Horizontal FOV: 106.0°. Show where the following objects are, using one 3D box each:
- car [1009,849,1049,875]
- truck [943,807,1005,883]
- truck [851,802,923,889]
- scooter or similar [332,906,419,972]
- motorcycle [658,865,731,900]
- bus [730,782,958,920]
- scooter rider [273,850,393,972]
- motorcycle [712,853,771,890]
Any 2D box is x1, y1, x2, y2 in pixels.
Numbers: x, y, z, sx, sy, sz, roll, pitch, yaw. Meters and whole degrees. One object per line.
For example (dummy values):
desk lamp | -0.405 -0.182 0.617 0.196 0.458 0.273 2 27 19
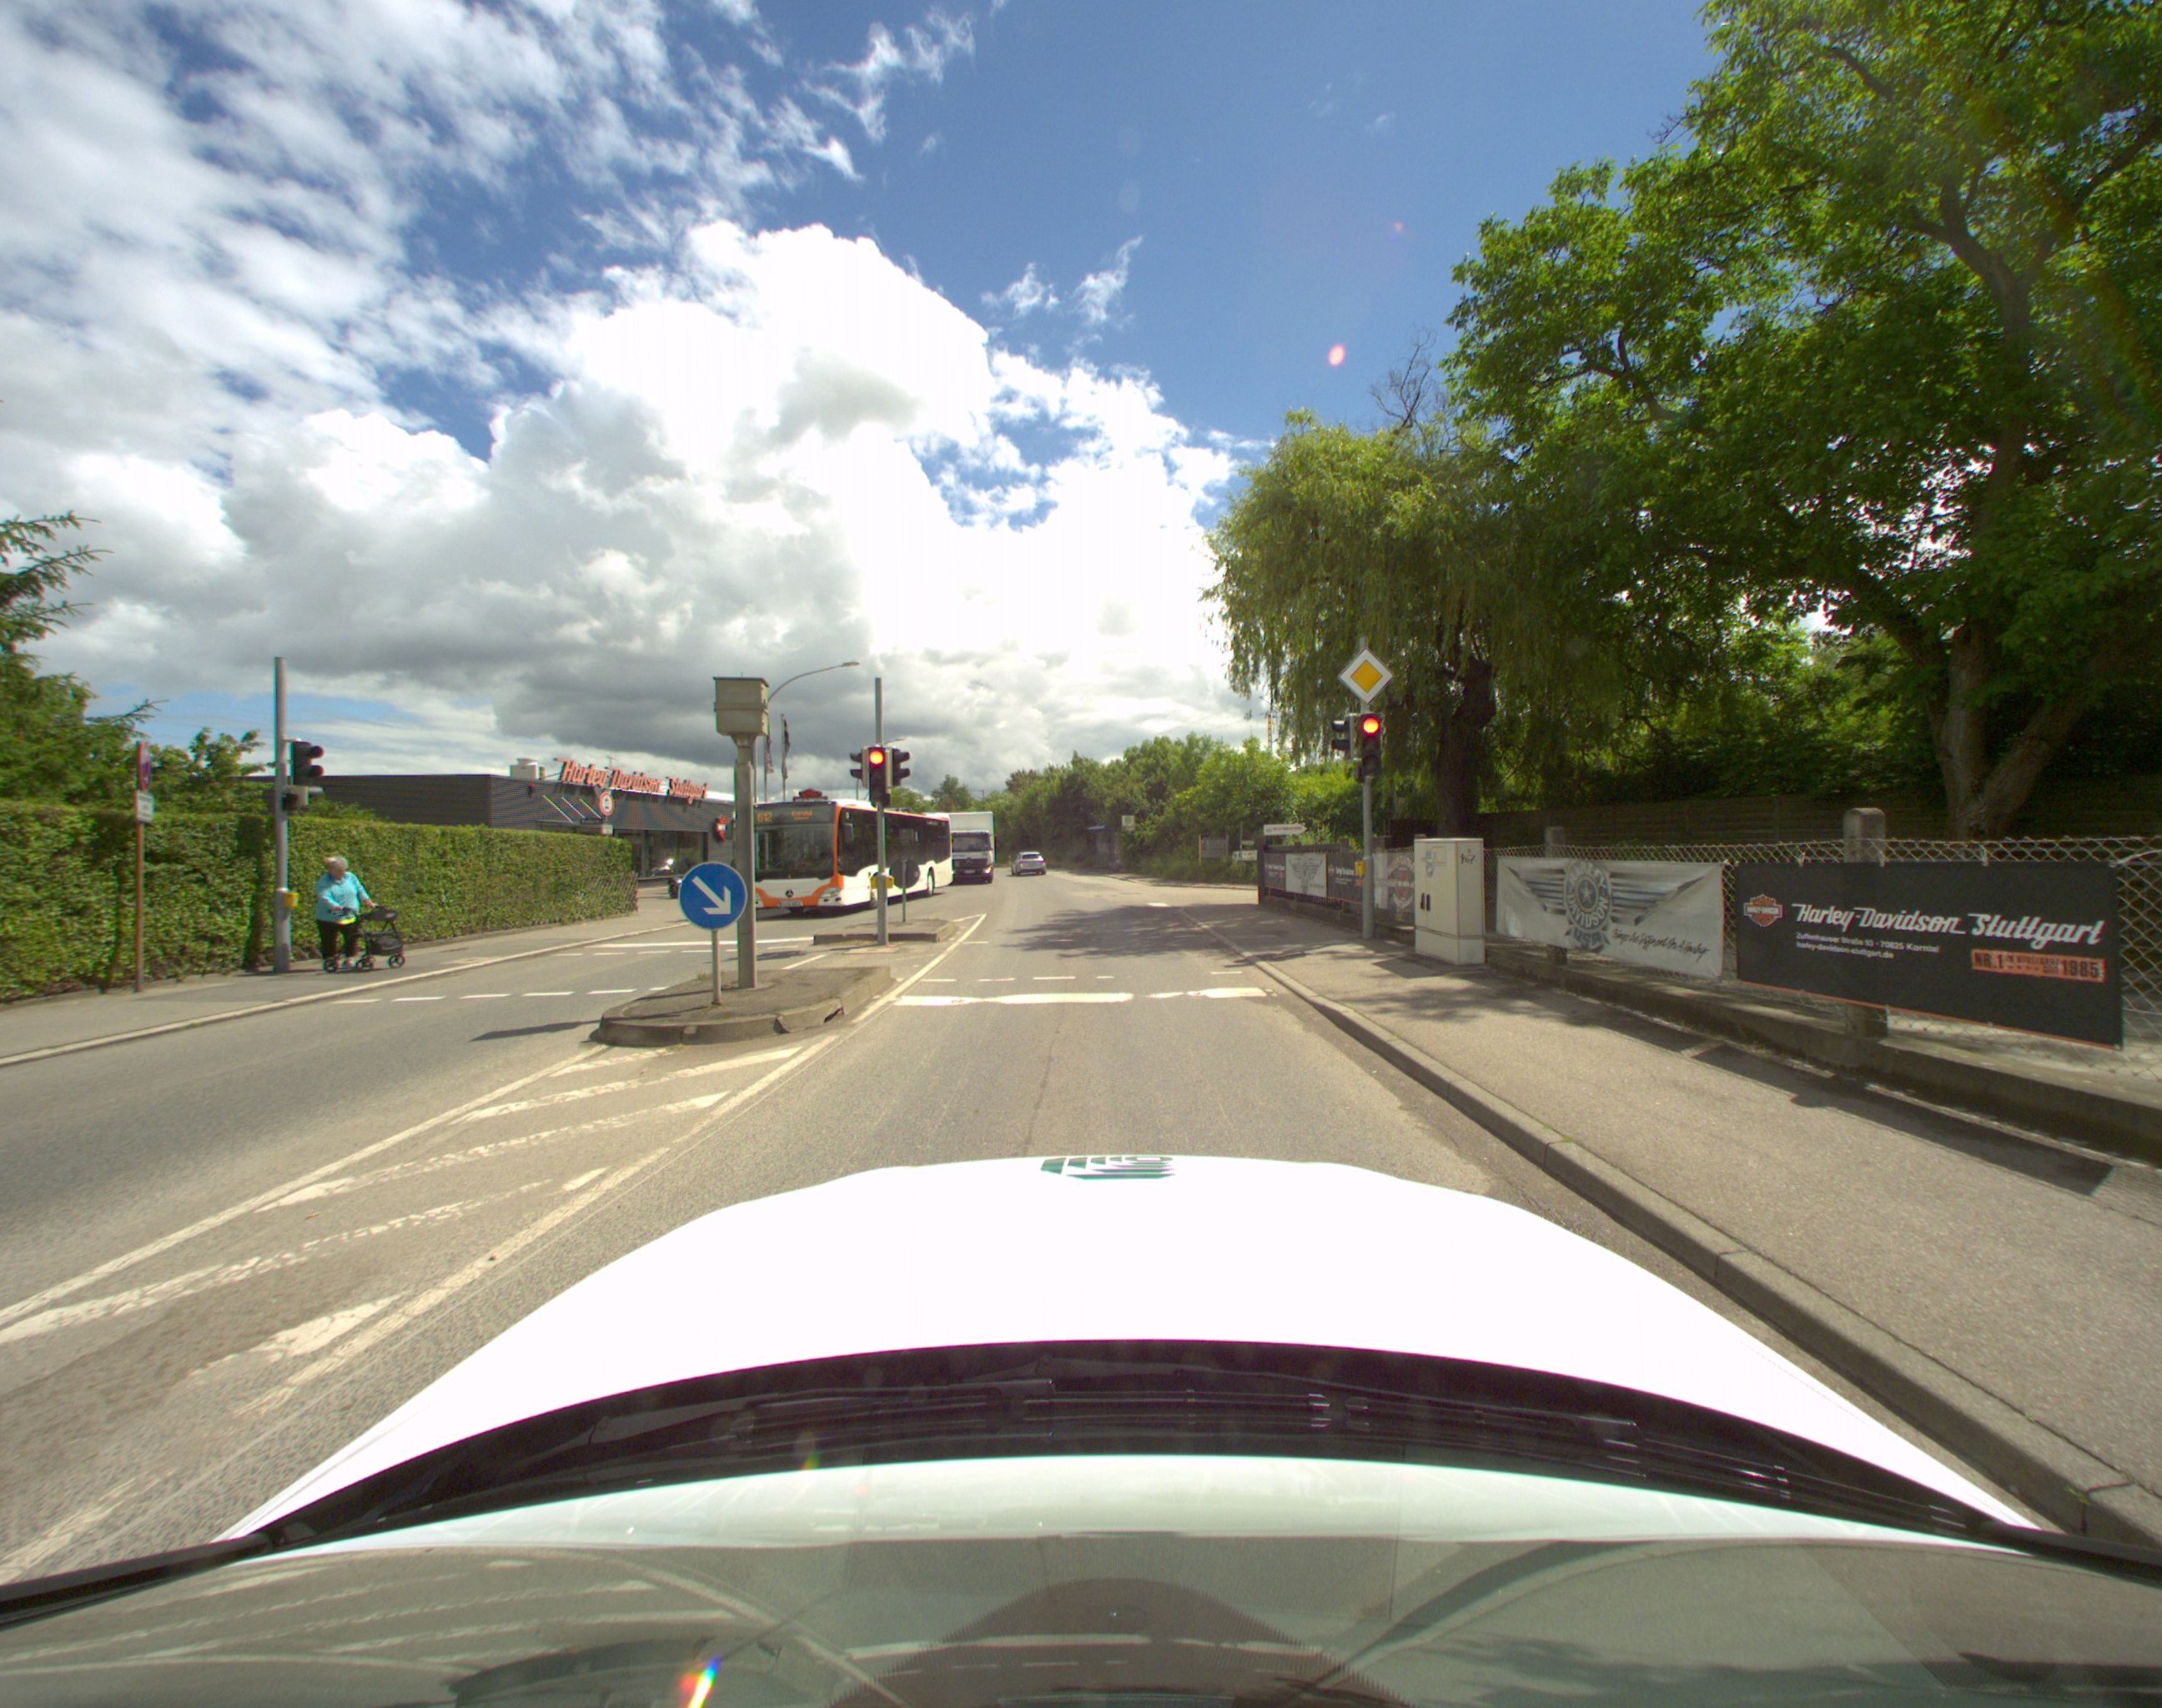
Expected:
car | -3.296 0.482 50.707 1.886 1.508 3.983 -1 0 -12
truck | -5.712 -0.443 43.369 2.838 3.540 9.698 -1 0 -8
truck | -10.100 -0.394 43.325 2.425 4.131 9.131 1 0 -6
scooter or similar | -9.614 1.150 11.117 0.609 0.831 0.659 0 0 0
motorcycle | -13.811 1.003 29.090 2.478 1.218 0.931 0 -1 22
bus | -6.710 -0.056 25.915 2.765 3.266 12.136 -2 0 4
scooter rider | -10.203 0.755 11.139 0.875 1.589 0.796 1 0 0
motorcycle | -15.657 0.804 37.586 2.300 1.683 1.039 0 -1 -7
